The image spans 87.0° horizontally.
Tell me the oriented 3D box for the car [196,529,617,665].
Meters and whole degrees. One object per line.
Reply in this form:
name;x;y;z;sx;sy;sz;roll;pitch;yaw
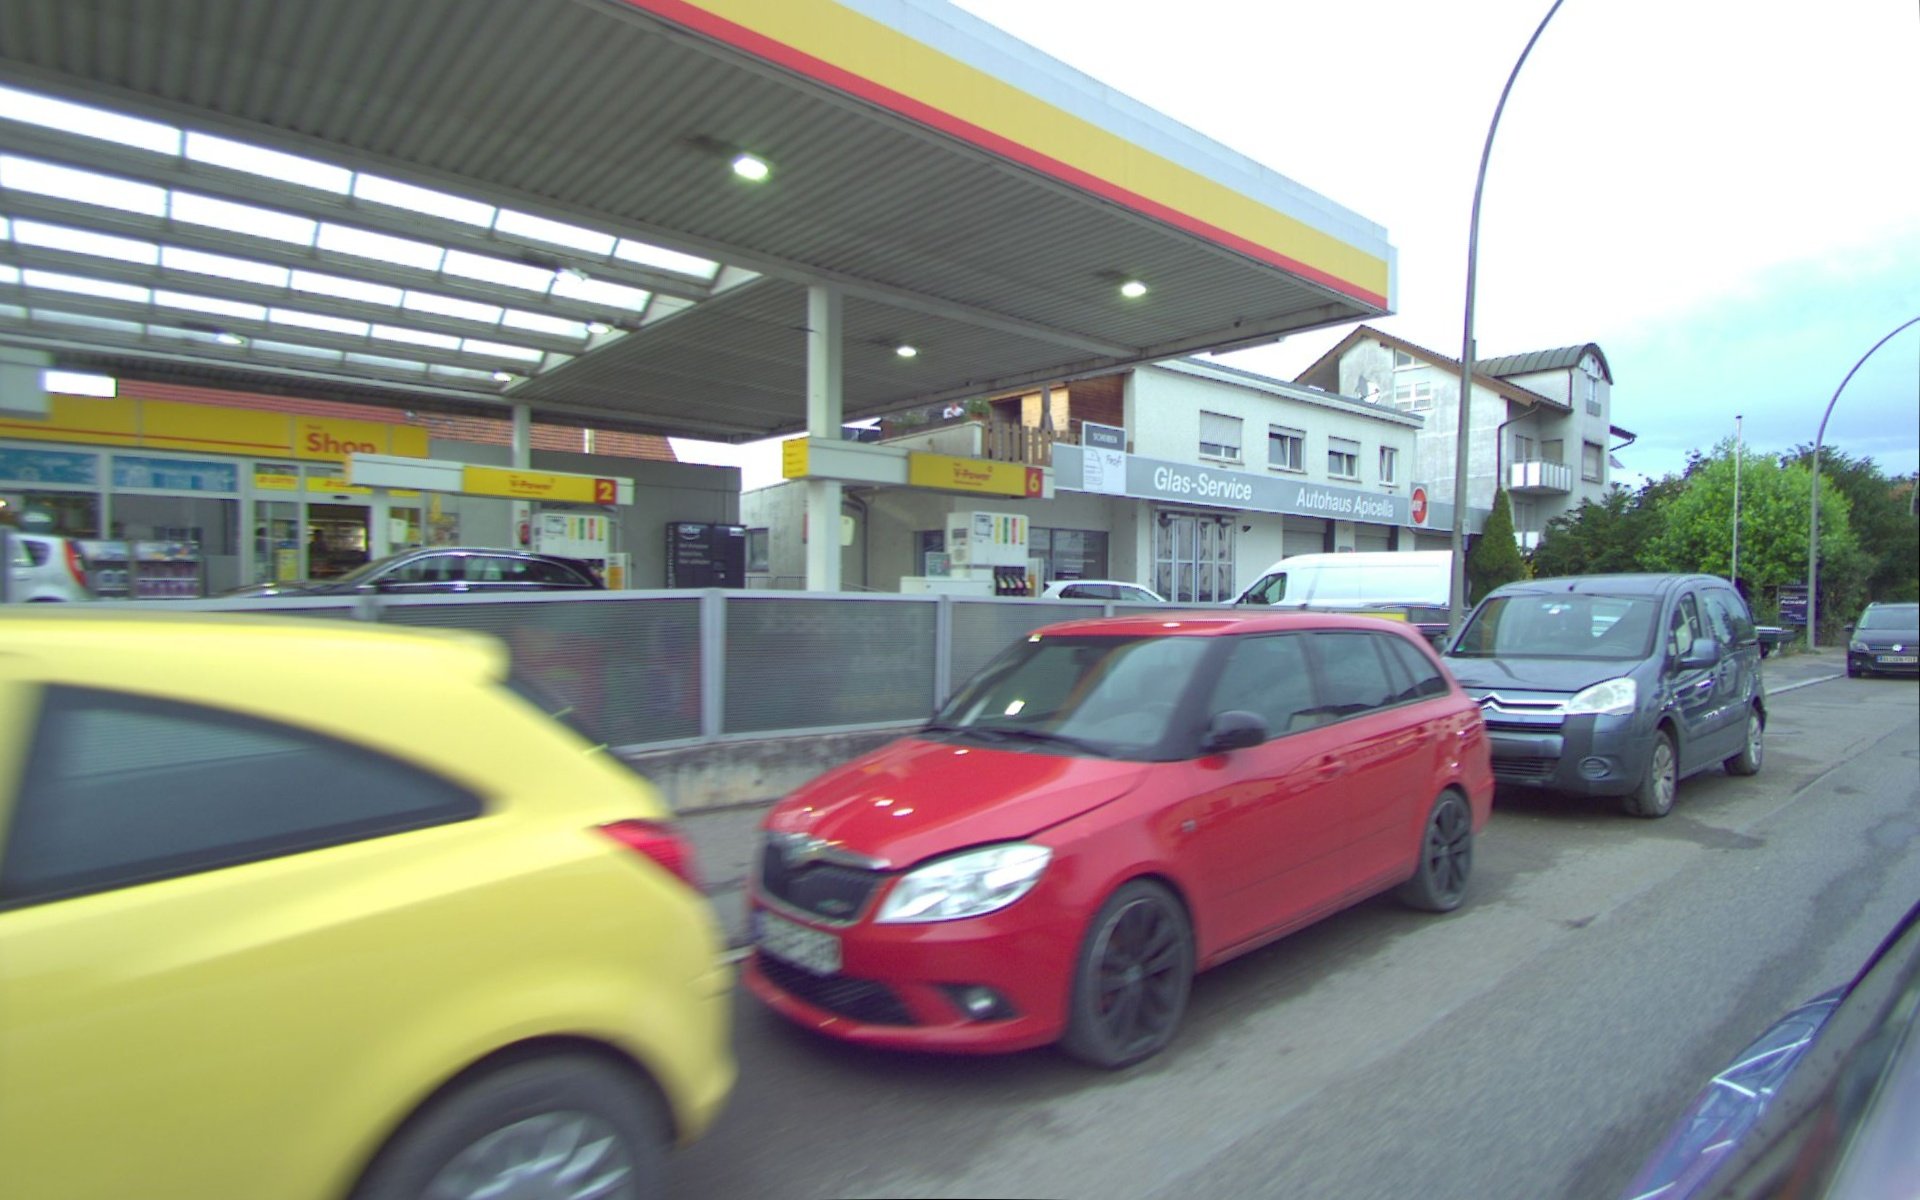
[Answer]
car;-7.073;-0.047;13.262;4.592;1.484;1.743;0;1;-41

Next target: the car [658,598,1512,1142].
car;0.856;0.702;4.588;3.955;1.394;1.659;0;1;-41

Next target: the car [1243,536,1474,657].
car;9.174;-0.114;23.358;4.760;2.552;2.226;1;0;28

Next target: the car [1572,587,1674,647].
car;19.630;0.466;29.917;1.749;1.538;3.671;5;4;45

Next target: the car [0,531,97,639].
car;-14.303;-0.216;13.897;3.714;1.484;1.743;0;1;-41

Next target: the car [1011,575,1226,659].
car;3.224;0.324;21.392;4.282;1.662;1.998;0;0;3

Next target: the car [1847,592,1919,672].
car;20.994;0.660;22.110;3.931;1.616;1.996;0;1;-42

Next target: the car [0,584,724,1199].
car;-2.441;0.682;1.538;3.735;1.419;1.659;0;1;-41

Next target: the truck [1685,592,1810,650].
truck;22.694;0.570;29.227;1.300;1.549;2.565;0;1;-33

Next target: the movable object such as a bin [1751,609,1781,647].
movable object such as a bin;23.883;0.829;29.986;0.670;1.088;0.575;0;0;-42

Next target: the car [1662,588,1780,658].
car;20.106;0.549;26.688;1.994;1.704;3.935;1;0;45

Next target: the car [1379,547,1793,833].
car;5.302;0.563;8.313;4.367;1.760;1.658;0;-2;-41

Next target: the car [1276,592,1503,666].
car;8.613;0.545;20.619;3.935;1.392;1.775;0;1;10
